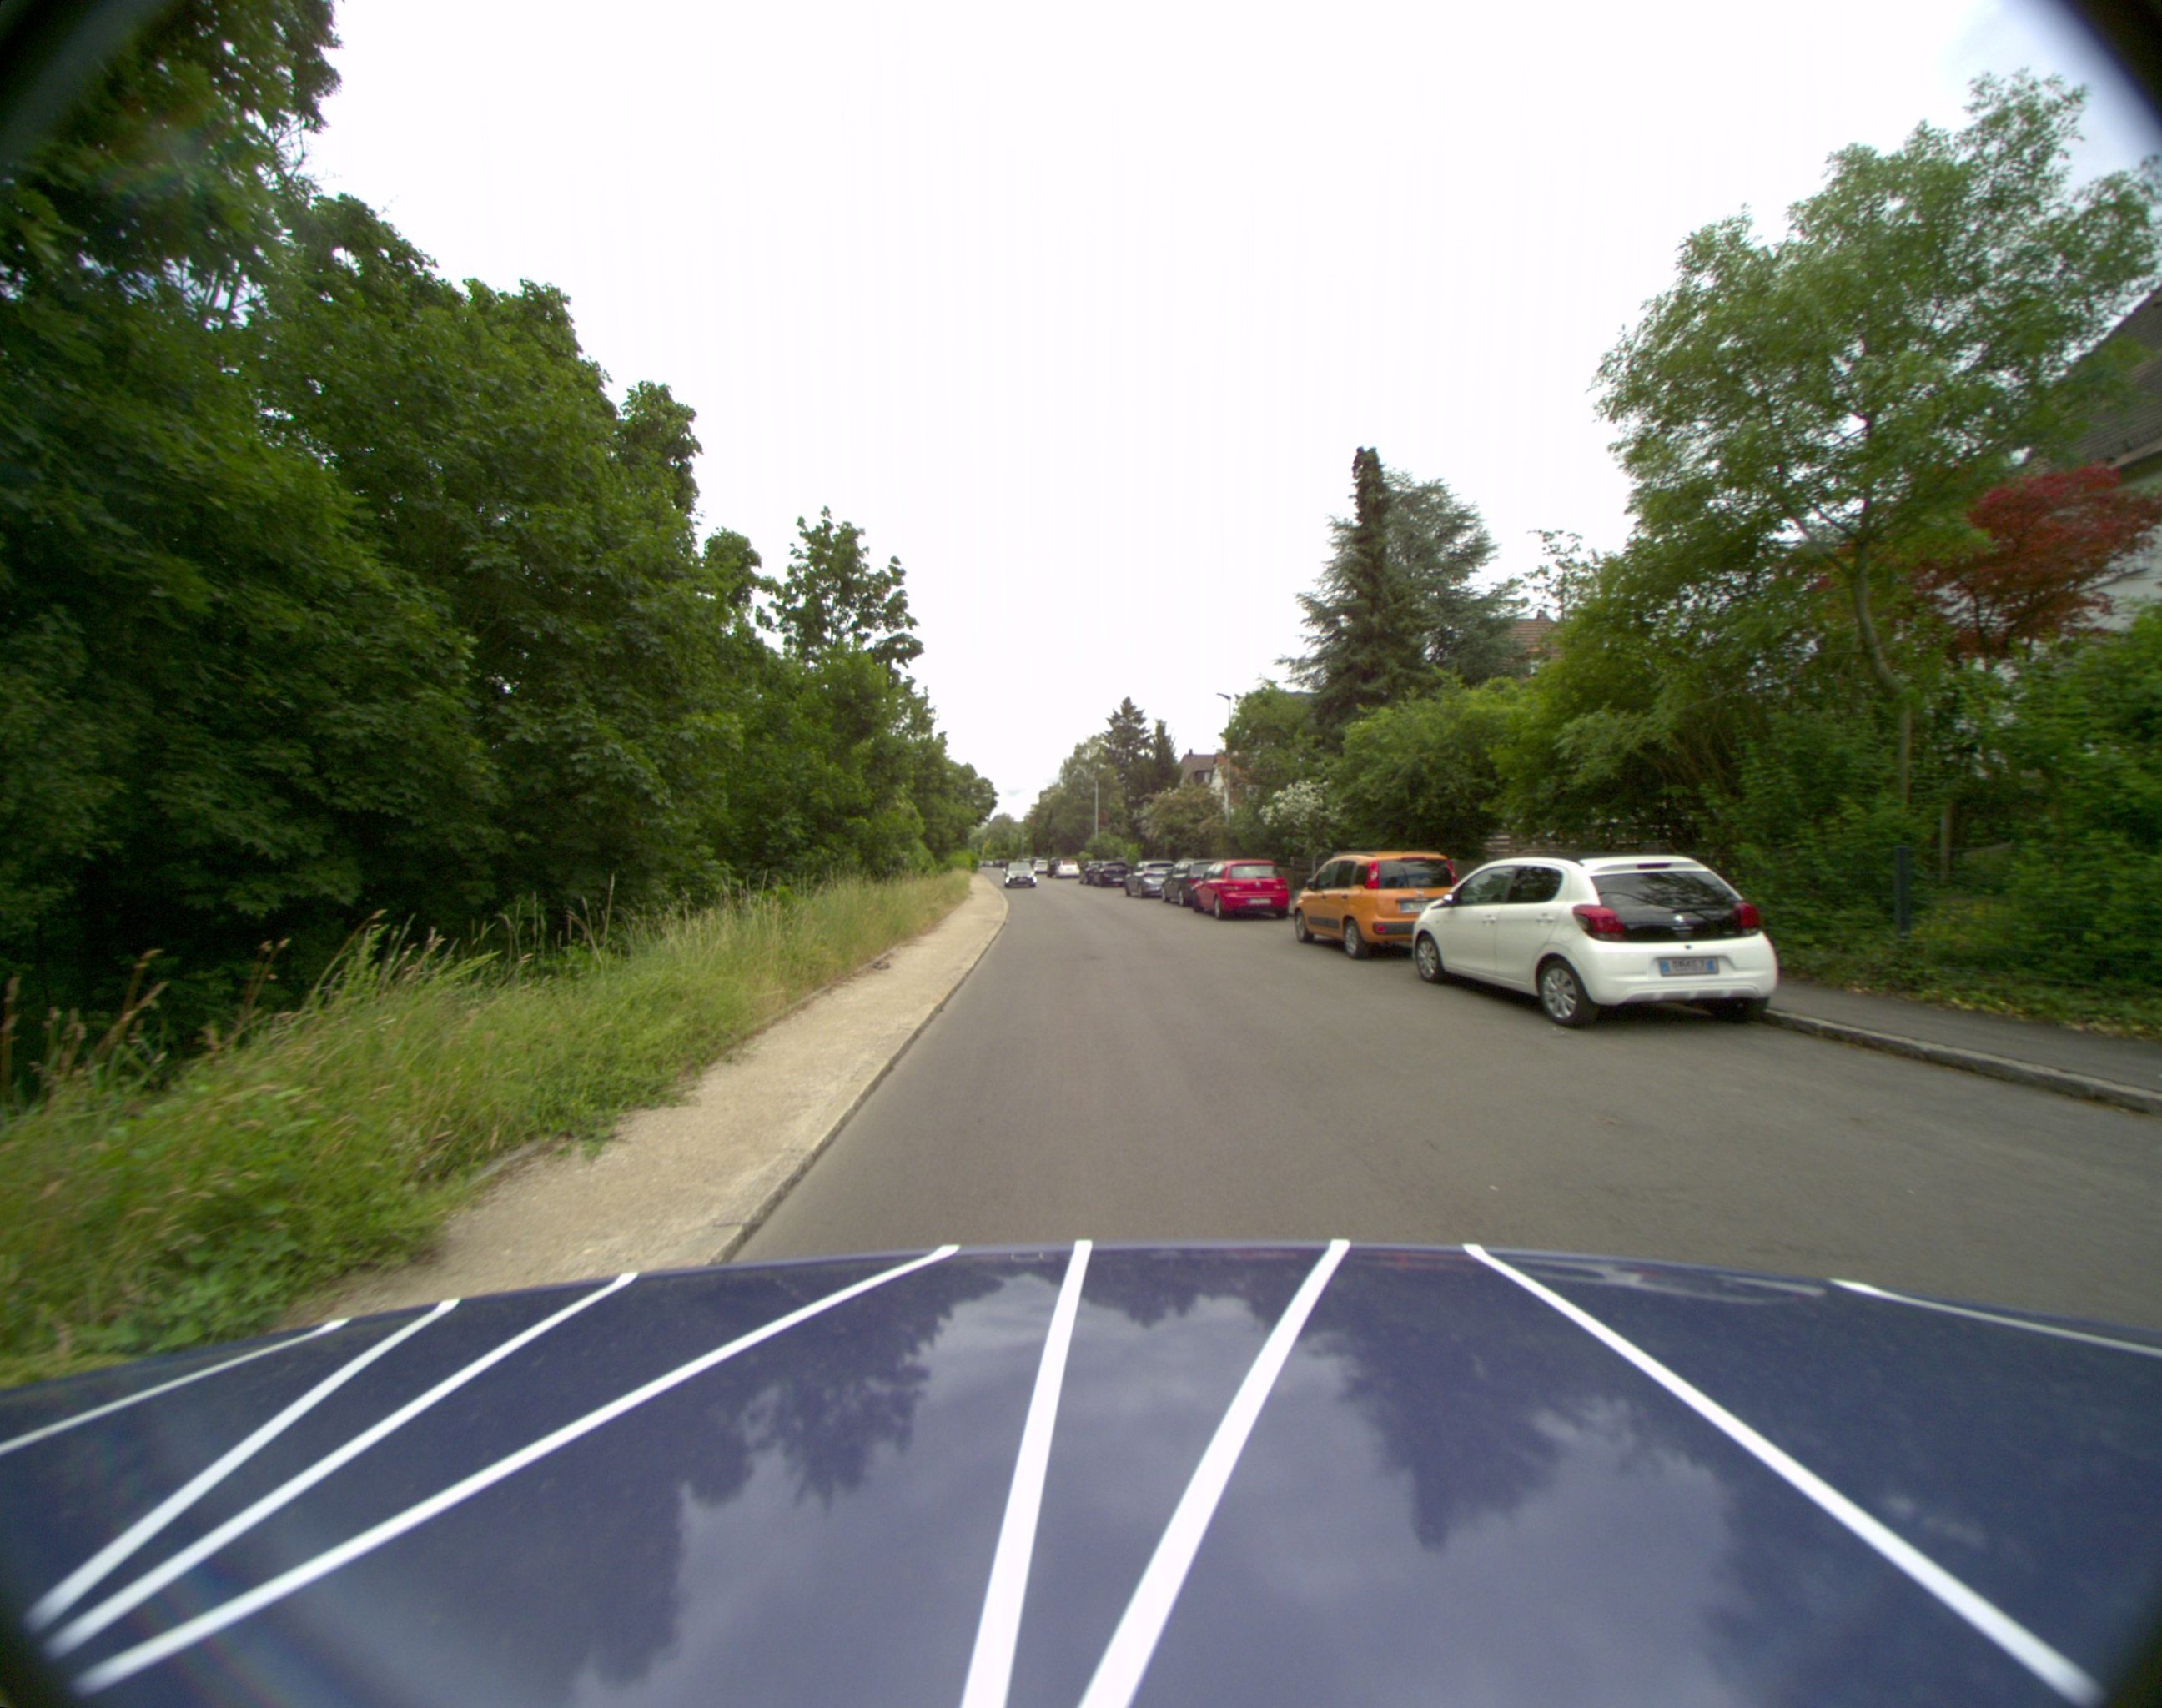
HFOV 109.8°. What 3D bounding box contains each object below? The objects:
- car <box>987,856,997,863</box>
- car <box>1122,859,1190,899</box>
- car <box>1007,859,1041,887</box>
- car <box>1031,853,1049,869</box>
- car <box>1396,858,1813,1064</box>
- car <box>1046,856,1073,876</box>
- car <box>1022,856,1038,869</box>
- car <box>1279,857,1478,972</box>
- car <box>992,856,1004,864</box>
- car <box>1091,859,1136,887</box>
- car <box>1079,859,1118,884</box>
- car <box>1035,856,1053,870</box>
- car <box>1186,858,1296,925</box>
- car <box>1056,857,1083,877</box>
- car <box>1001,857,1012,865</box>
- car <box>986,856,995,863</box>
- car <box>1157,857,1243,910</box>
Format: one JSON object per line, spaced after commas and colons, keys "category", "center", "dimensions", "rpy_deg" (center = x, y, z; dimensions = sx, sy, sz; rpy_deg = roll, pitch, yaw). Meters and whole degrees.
{"category": "car", "center": [-21.607, 1.408, 184.481], "dimensions": [1.924, 1.670, 4.191], "rpy_deg": [-1, 0, -10]}
{"category": "car", "center": [2.871, 0.939, 30.006], "dimensions": [1.712, 1.402, 4.157], "rpy_deg": [-1, 0, -8]}
{"category": "car", "center": [-3.366, 1.052, 44.159], "dimensions": [1.712, 1.466, 4.192], "rpy_deg": [-1, 0, -7]}
{"category": "car", "center": [-4.779, 0.823, 87.215], "dimensions": [1.712, 1.789, 4.295], "rpy_deg": [-1, 0, -7]}
{"category": "car", "center": [4.707, 0.814, 7.536], "dimensions": [1.592, 1.505, 3.590], "rpy_deg": [-1, 0, -1]}
{"category": "car", "center": [-1.926, 0.985, 66.628], "dimensions": [1.797, 1.654, 4.388], "rpy_deg": [-1, 0, -8]}
{"category": "car", "center": [-6.721, 1.051, 99.680], "dimensions": [1.801, 1.598, 4.727], "rpy_deg": [-1, 0, -8]}
{"category": "car", "center": [4.496, 0.820, 12.079], "dimensions": [1.548, 1.505, 3.643], "rpy_deg": [-1, 0, -3]}
{"category": "car", "center": [-17.593, 1.334, 160.906], "dimensions": [1.924, 1.670, 4.190], "rpy_deg": [-1, 0, -12]}
{"category": "car", "center": [1.754, 0.994, 41.862], "dimensions": [1.712, 1.408, 4.129], "rpy_deg": [-1, 0, -8]}
{"category": "car", "center": [1.042, 1.038, 46.644], "dimensions": [1.712, 1.408, 4.146], "rpy_deg": [-1, 0, -8]}
{"category": "car", "center": [-3.971, 0.937, 80.996], "dimensions": [1.712, 1.502, 4.552], "rpy_deg": [-1, 0, -6]}
{"category": "car", "center": [4.057, 0.880, 19.983], "dimensions": [1.712, 1.505, 4.362], "rpy_deg": [-1, 0, -3]}
{"category": "car", "center": [-0.964, 0.998, 61.296], "dimensions": [1.712, 1.502, 3.943], "rpy_deg": [-1, 0, -8]}
{"category": "car", "center": [-14.815, 1.371, 150.581], "dimensions": [1.923, 1.670, 4.192], "rpy_deg": [-1, 0, -7]}
{"category": "car", "center": [-22.632, 1.403, 189.252], "dimensions": [1.924, 1.670, 4.191], "rpy_deg": [-1, 0, -10]}
{"category": "car", "center": [3.764, 0.882, 24.802], "dimensions": [1.712, 1.505, 4.493], "rpy_deg": [-1, 0, -5]}
